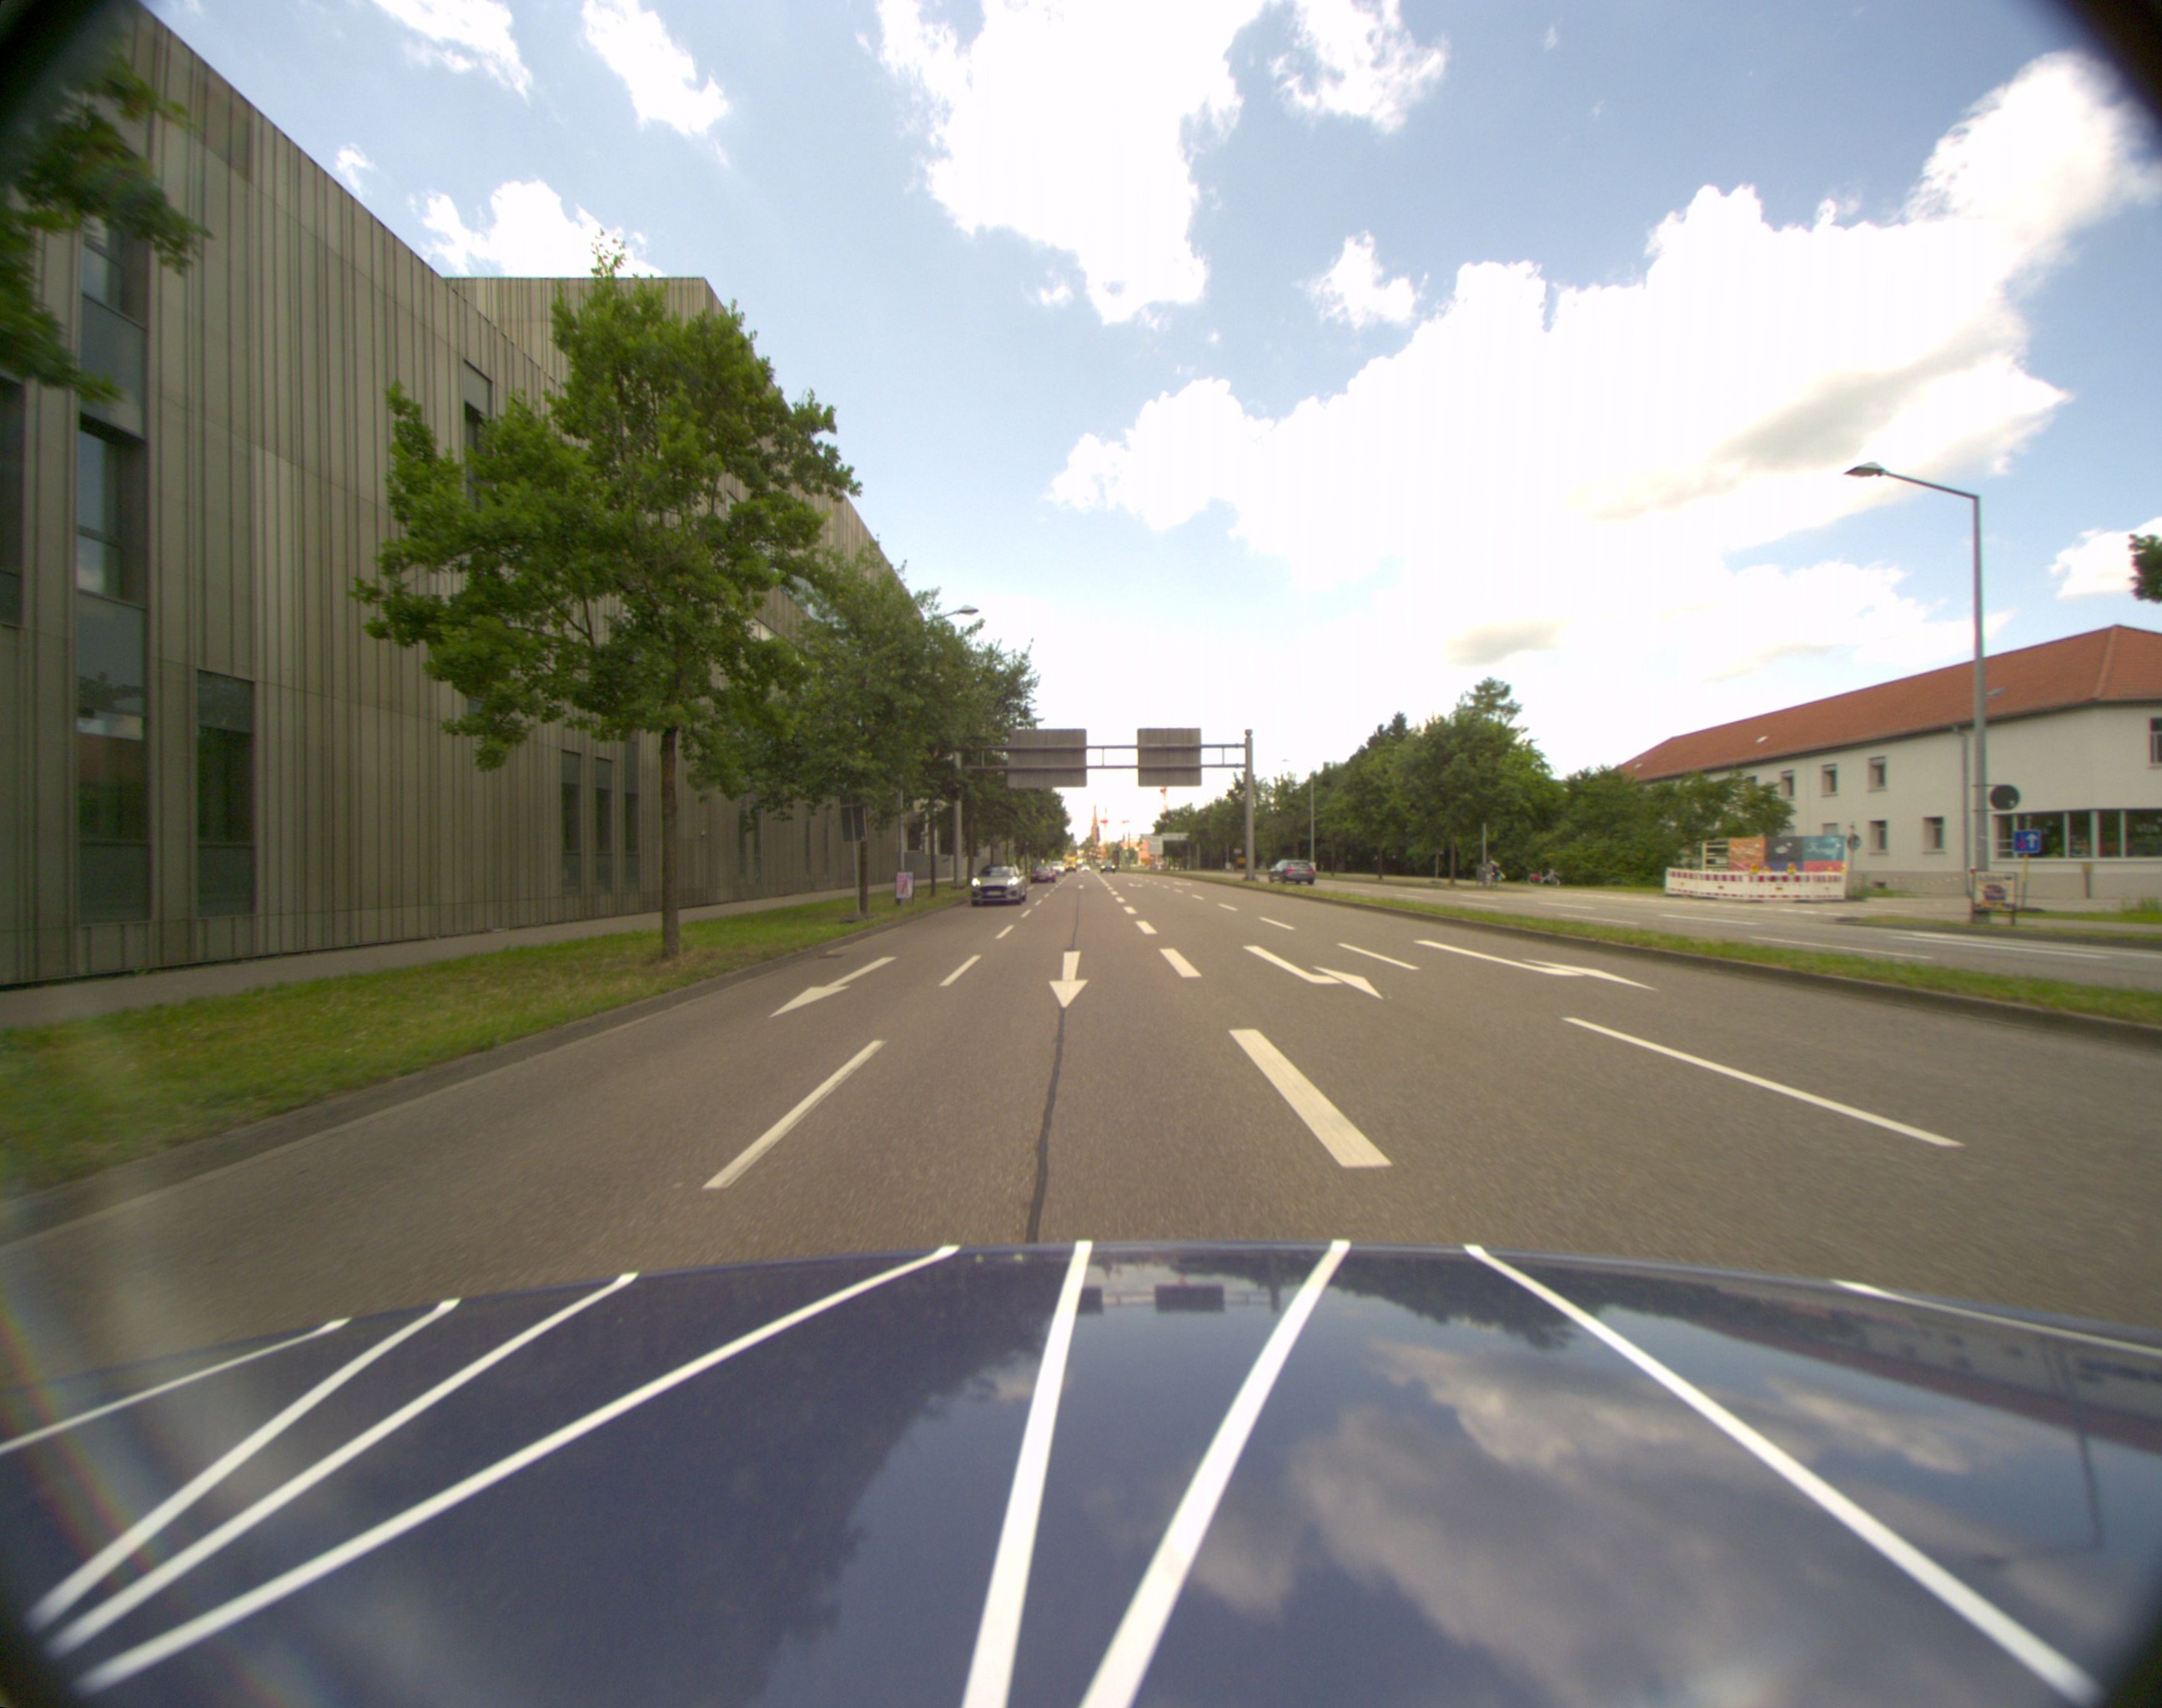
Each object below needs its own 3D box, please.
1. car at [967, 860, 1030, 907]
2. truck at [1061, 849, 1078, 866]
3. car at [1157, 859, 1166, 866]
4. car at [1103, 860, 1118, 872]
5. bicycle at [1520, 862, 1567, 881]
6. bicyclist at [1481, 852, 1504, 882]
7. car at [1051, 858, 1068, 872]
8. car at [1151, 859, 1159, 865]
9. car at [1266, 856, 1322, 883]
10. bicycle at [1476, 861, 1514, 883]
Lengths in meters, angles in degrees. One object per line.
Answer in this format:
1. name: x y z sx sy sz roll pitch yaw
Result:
1. car: -3.026 1.061 28.561 1.823 1.565 3.954 -2 0 1
2. truck: -2.072 0.625 145.403 3.066 3.094 7.935 0 0 1
3. car: 17.658 1.755 166.467 1.713 1.487 3.698 0 0 1
4. car: 3.667 1.462 95.127 1.782 1.487 3.598 0 0 0
5. bicycle: 26.082 0.989 42.898 0.665 1.009 2.143 0 1 -44
6. bicyclist: 22.703 0.712 41.929 0.740 1.648 0.980 0 0 -4
7. car: -2.359 1.195 82.698 1.713 1.487 3.650 0 0 1
8. car: 19.764 2.191 202.995 1.713 1.487 4.072 0 0 1
9. car: 12.579 0.887 45.211 1.964 1.508 4.909 0 0 0
10. bicycle: 22.710 0.961 41.770 0.752 1.155 2.257 0 0 -4
